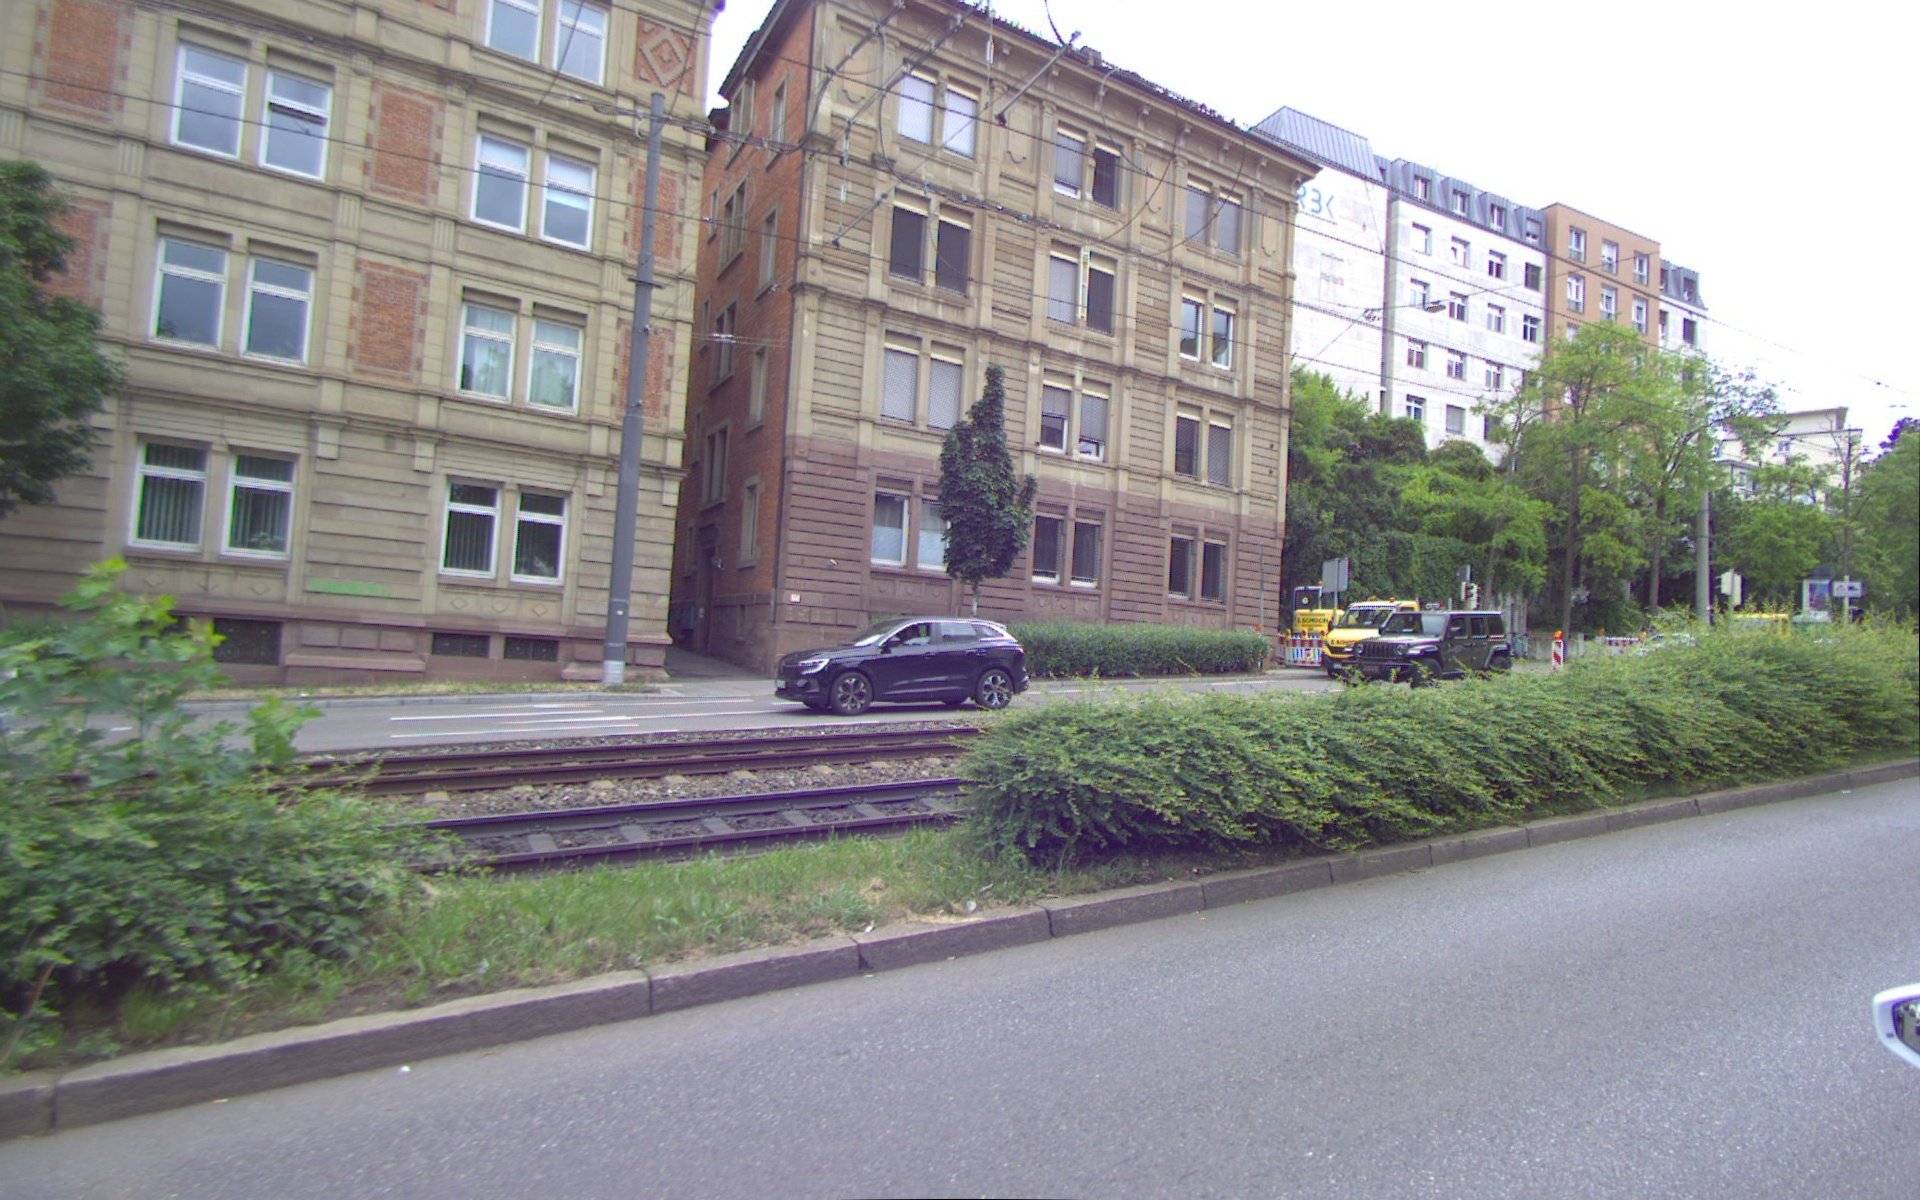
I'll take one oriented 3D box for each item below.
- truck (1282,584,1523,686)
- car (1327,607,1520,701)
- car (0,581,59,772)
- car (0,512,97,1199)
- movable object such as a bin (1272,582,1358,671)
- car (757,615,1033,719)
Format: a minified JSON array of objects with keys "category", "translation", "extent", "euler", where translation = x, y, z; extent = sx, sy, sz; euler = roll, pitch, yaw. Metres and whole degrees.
[{"category":"truck","translation":[13.183,1.057,29.769],"extent":[7.073,2.543,2.902],"euler":[4,-1,-31]},{"category":"car","translation":[10.500,1.187,22.645],"extent":[4.596,1.901,1.887],"euler":[2,-1,-35]},{"category":"car","translation":[-11.473,0.715,9.200],"extent":[4.466,1.811,1.870],"euler":[2,-3,-32]},{"category":"car","translation":[-3.604,0.575,0.292],"extent":[4.729,1.707,2.017],"euler":[3,-2,-32]},{"category":"movable object such as a bin","translation":[12.037,0.911,34.118],"extent":[2.010,2.875,1.980],"euler":[2,-2,-36]},{"category":"car","translation":[-1.080,1.091,17.218],"extent":[4.383,1.575,1.857],"euler":[1,-2,-28]}]
